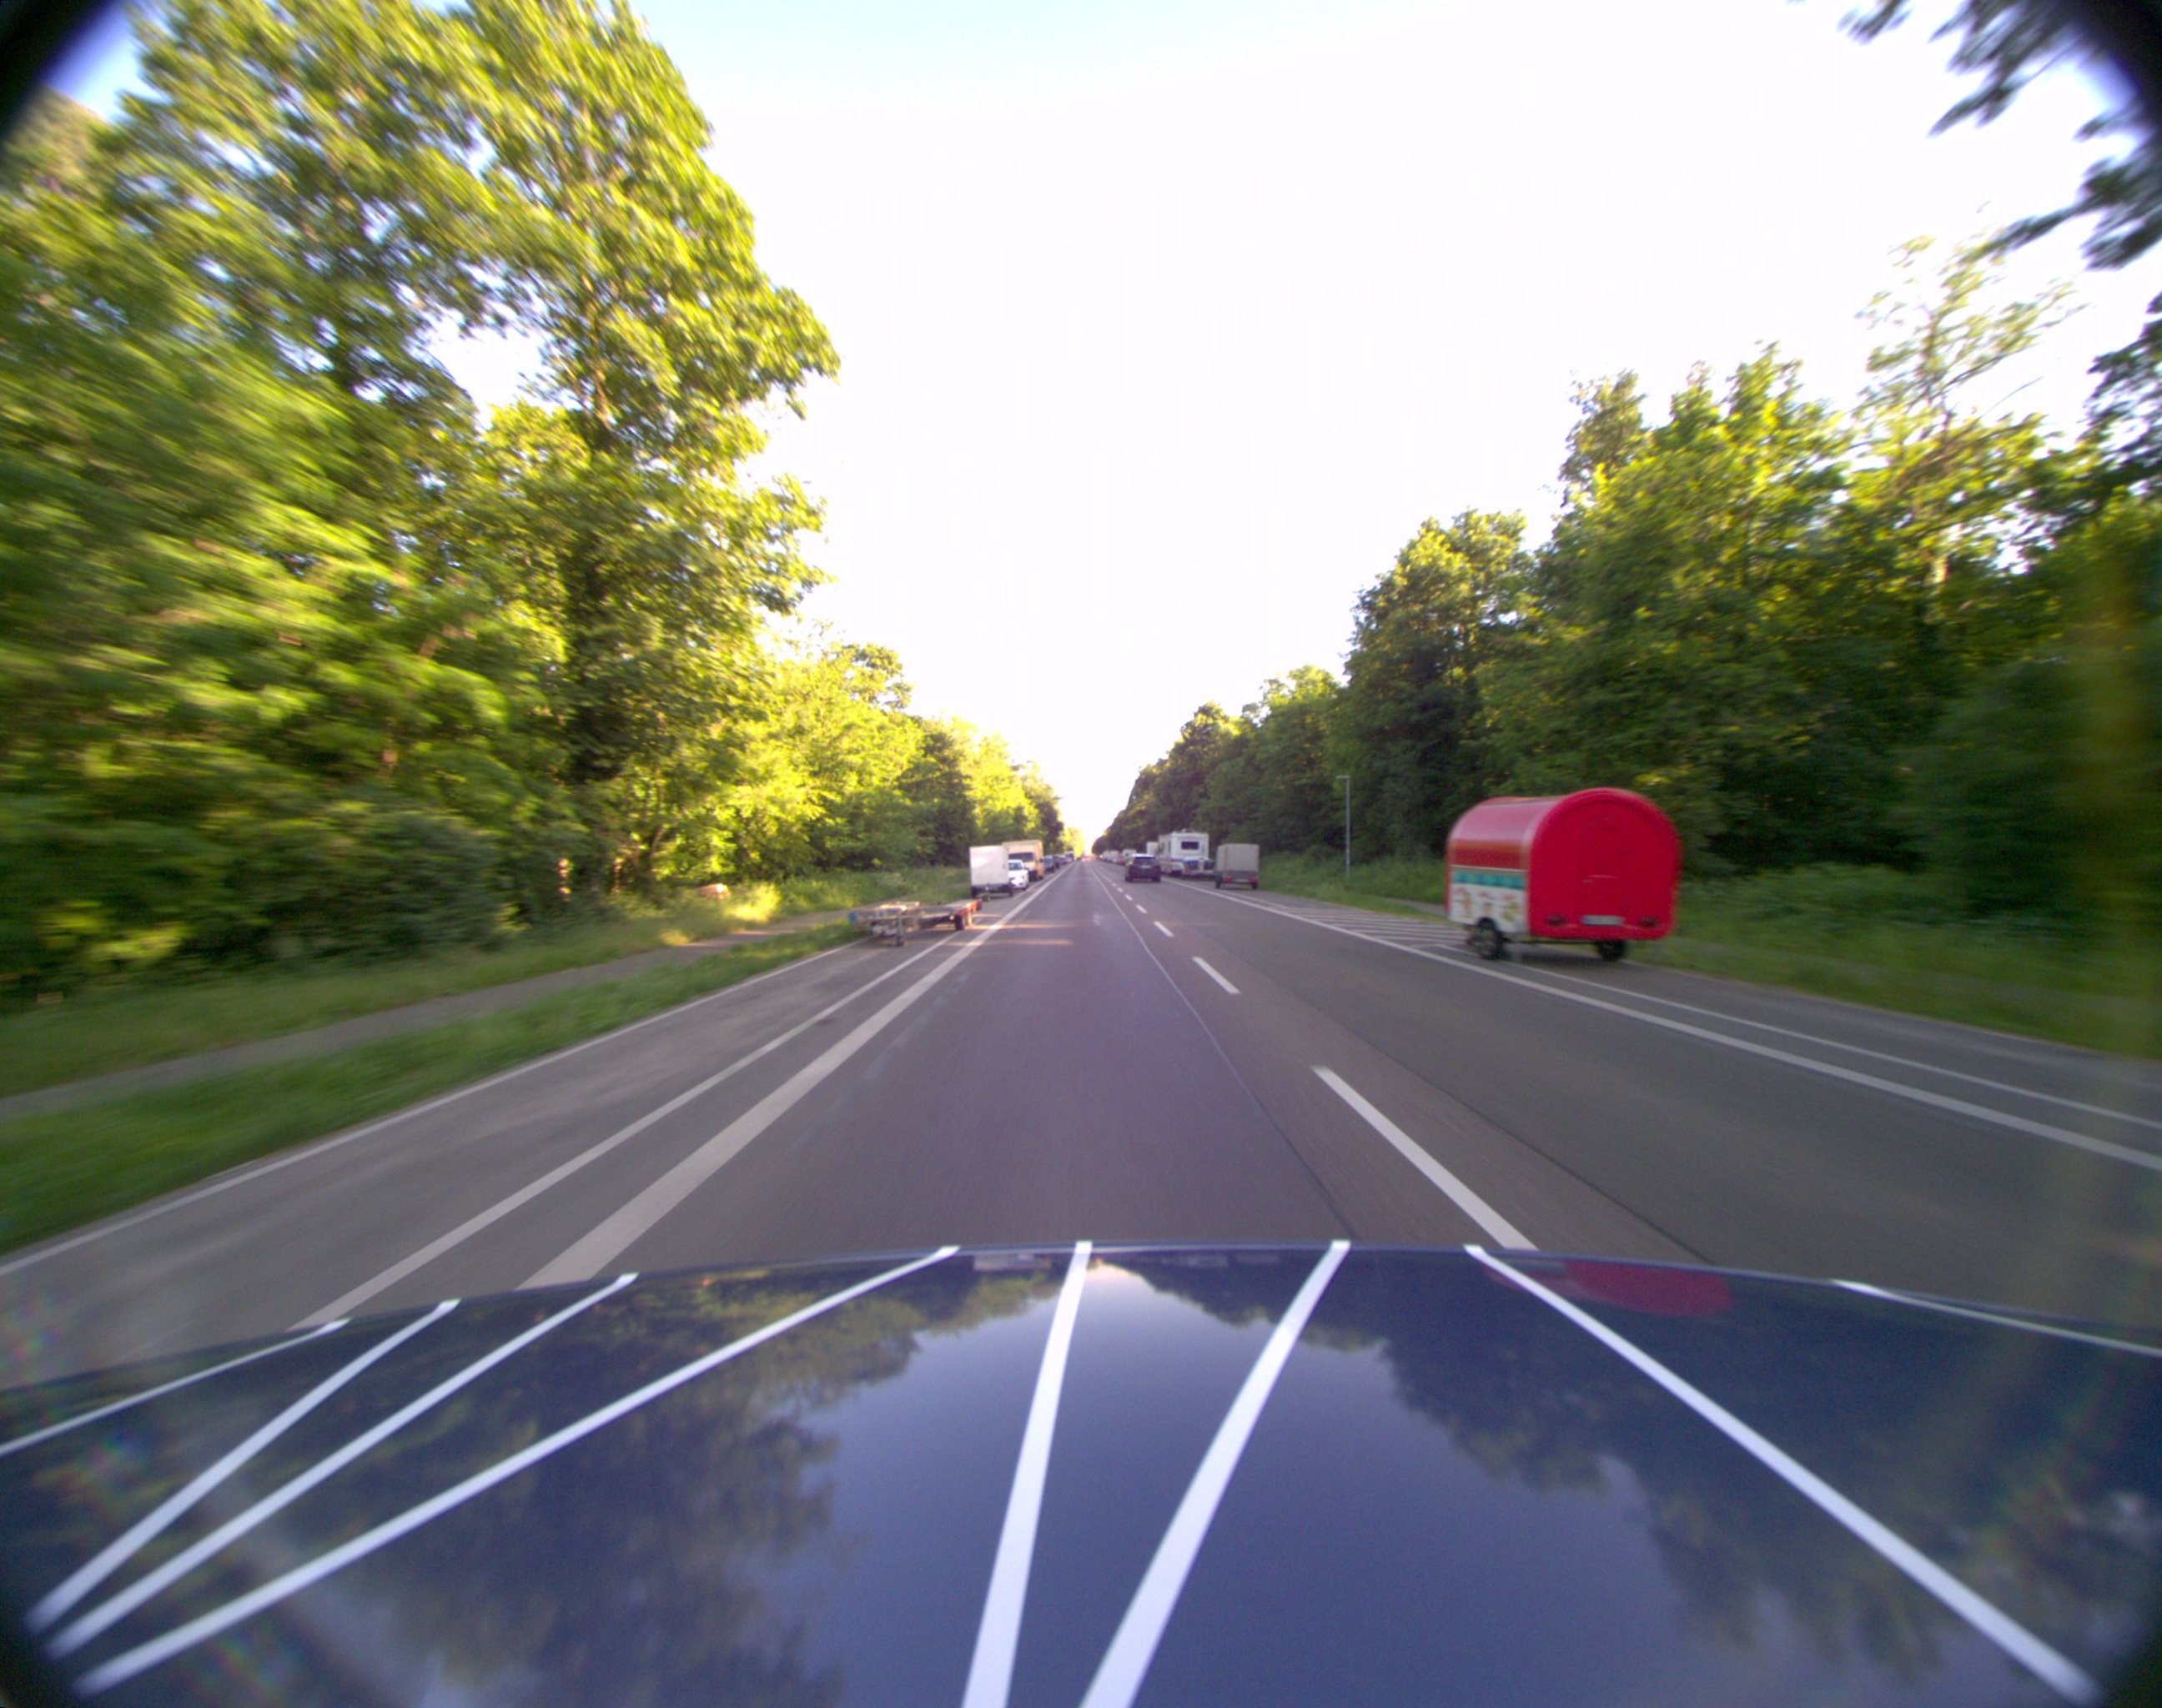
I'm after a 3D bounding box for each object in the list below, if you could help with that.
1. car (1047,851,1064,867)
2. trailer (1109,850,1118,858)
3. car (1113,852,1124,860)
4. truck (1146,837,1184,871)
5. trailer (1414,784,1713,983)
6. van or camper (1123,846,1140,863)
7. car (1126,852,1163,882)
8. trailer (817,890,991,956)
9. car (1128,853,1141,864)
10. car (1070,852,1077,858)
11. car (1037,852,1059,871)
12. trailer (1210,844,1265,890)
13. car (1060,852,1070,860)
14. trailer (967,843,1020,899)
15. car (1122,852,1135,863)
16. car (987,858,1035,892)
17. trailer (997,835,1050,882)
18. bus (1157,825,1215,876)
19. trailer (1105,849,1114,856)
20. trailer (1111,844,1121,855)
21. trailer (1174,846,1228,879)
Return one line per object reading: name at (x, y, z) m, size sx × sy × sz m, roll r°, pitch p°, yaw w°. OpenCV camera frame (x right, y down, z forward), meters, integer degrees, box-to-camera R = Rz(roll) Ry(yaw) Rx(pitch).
car at (-3.280, 0.624, 98.139) m, size 1.998 × 1.888 × 5.473 m, roll -2°, pitch 0°, yaw 0°
trailer at (7.872, -0.070, 184.292) m, size 1.998 × 1.776 × 3.999 m, roll -2°, pitch 1°, yaw 0°
car at (7.639, 0.468, 155.461) m, size 1.998 × 1.620 × 4.144 m, roll -2°, pitch 0°, yaw 0°
truck at (7.572, 0.010, 69.207) m, size 2.489 × 2.807 × 8.424 m, roll -2°, pitch 0°, yaw 0°
trailer at (6.830, 0.362, 11.288) m, size 2.072 × 2.466 × 3.559 m, roll -1°, pitch 0°, yaw -3°
van or camper at (7.776, 0.047, 117.666) m, size 2.253 × 2.599 × 5.984 m, roll -1°, pitch 0°, yaw 0°
car at (3.639, 0.708, 44.031) m, size 1.823 × 1.577 × 4.459 m, roll 0°, pitch 1°, yaw 1°
trailer at (-3.581, 1.393, 16.761) m, size 2.439 × 0.794 × 5.658 m, roll -2°, pitch 1°, yaw 0°
car at (7.403, 0.609, 105.451) m, size 1.787 × 1.485 × 4.001 m, roll 0°, pitch 0°, yaw 5°
car at (-1.916, 0.282, 192.182) m, size 1.837 × 1.608 × 4.000 m, roll -2°, pitch 0°, yaw 0°
car at (-3.211, 0.745, 74.796) m, size 1.804 × 1.681 × 4.601 m, roll -2°, pitch 1°, yaw 0°
trailer at (7.250, 0.564, 35.480) m, size 1.858 × 2.002 × 3.561 m, roll 1°, pitch 0°, yaw 1°
car at (-3.007, 0.366, 146.556) m, size 1.837 × 1.608 × 4.000 m, roll -2°, pitch 0°, yaw 0°
trailer at (-3.541, 0.658, 31.359) m, size 1.759 × 2.149 × 3.539 m, roll -1°, pitch 0°, yaw -1°
car at (8.048, 0.527, 128.471) m, size 1.998 × 1.797 × 4.144 m, roll -2°, pitch 0°, yaw 0°
car at (-3.357, 0.969, 37.299) m, size 1.892 × 1.459 × 4.569 m, roll -2°, pitch 0°, yaw 0°
trailer at (-3.908, 0.251, 53.956) m, size 2.929 × 2.825 × 9.881 m, roll -4°, pitch 1°, yaw -1°
bus at (7.768, -0.307, 57.935) m, size 2.835 × 3.411 × 11.198 m, roll -2°, pitch 1°, yaw 0°
trailer at (8.146, -0.342, 217.827) m, size 2.306 × 1.972 × 3.999 m, roll -2°, pitch 1°, yaw 0°
trailer at (7.454, -0.921, 162.420) m, size 1.998 × 2.227 × 3.999 m, roll -2°, pitch 1°, yaw 0°
trailer at (7.662, 0.509, 49.179) m, size 2.434 × 1.903 × 6.263 m, roll -2°, pitch 0°, yaw 0°
